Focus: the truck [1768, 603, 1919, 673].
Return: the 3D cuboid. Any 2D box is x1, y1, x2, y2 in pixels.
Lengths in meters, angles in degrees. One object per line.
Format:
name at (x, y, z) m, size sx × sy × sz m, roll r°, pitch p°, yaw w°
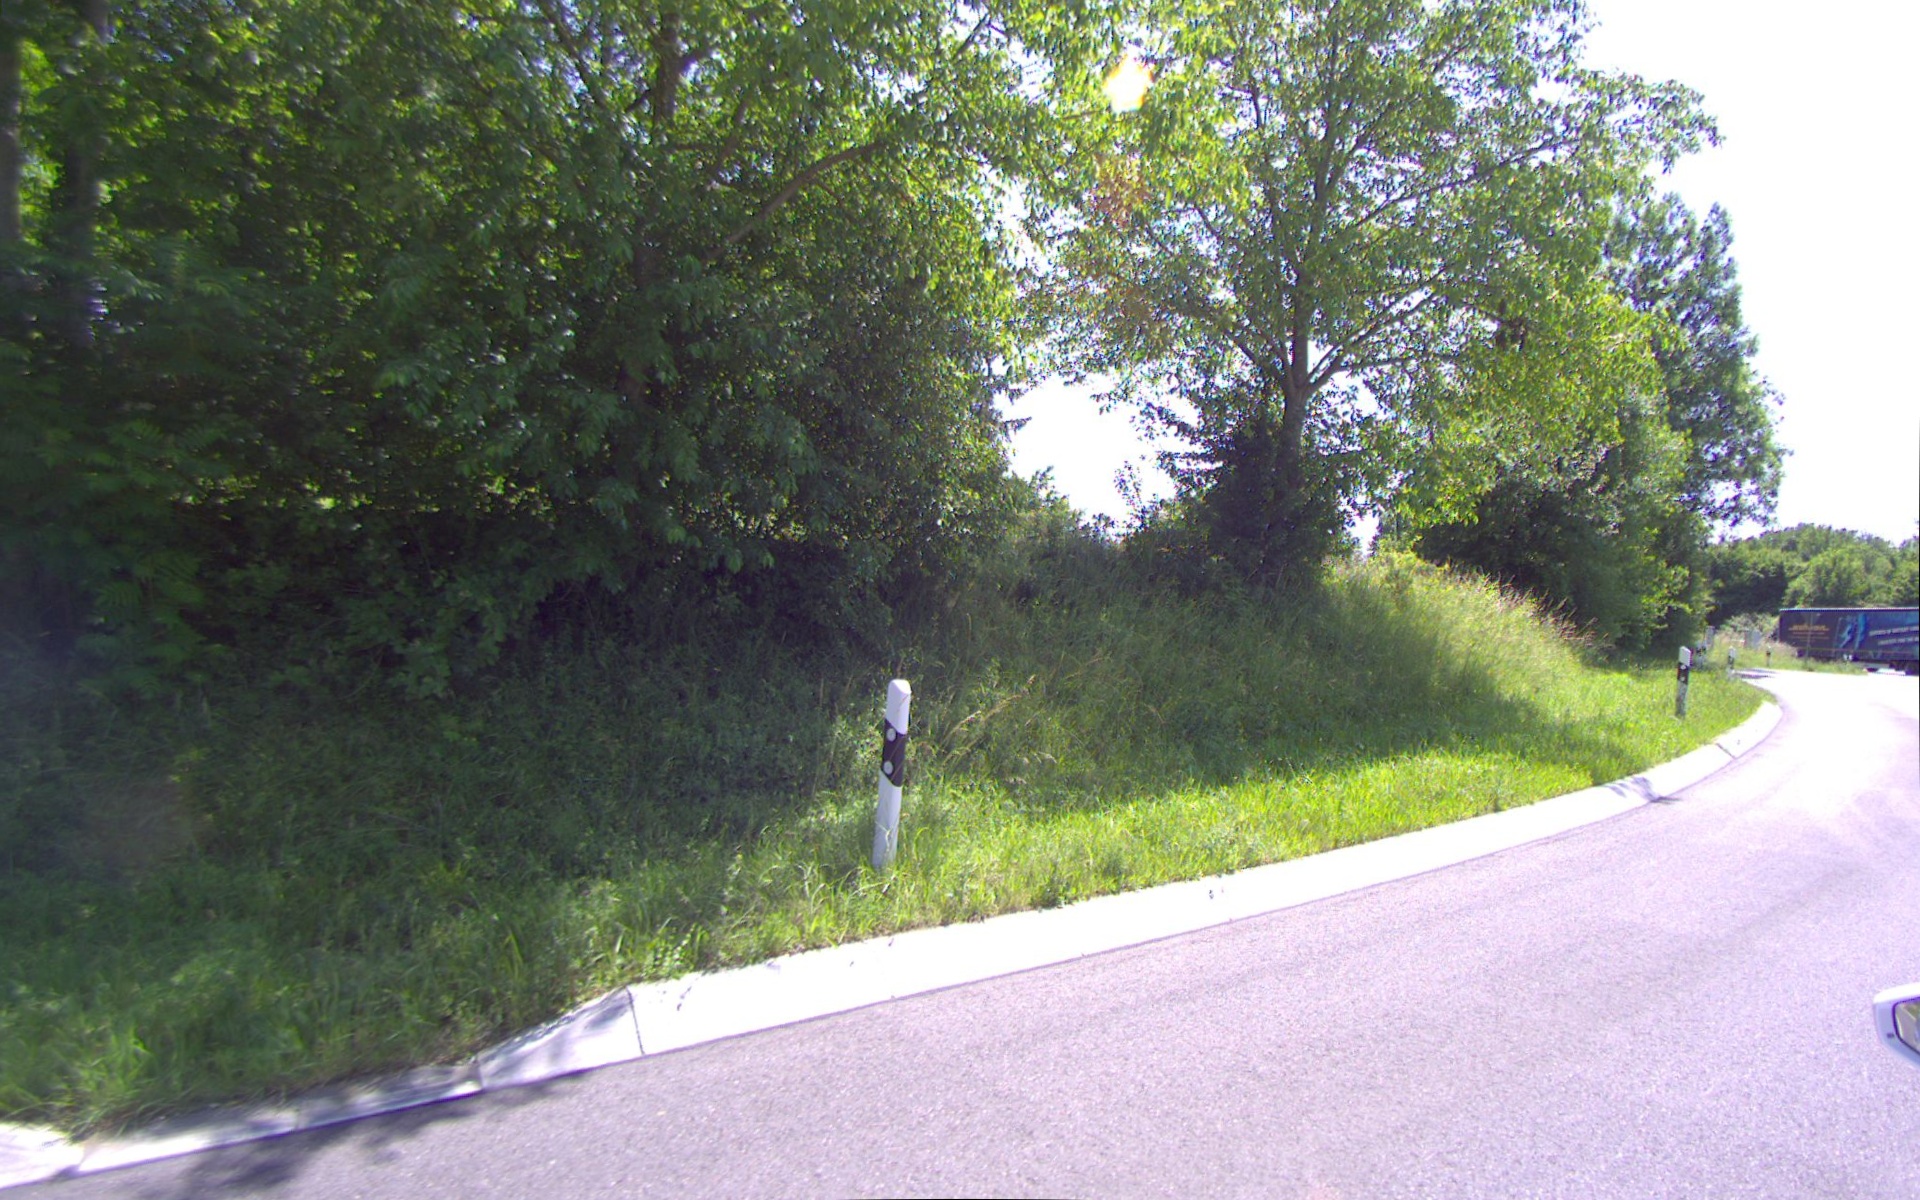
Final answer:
truck at (59.668, 2.389, 64.821) m, size 2.794 × 4.186 × 16.820 m, roll 3°, pitch 0°, yaw 6°
